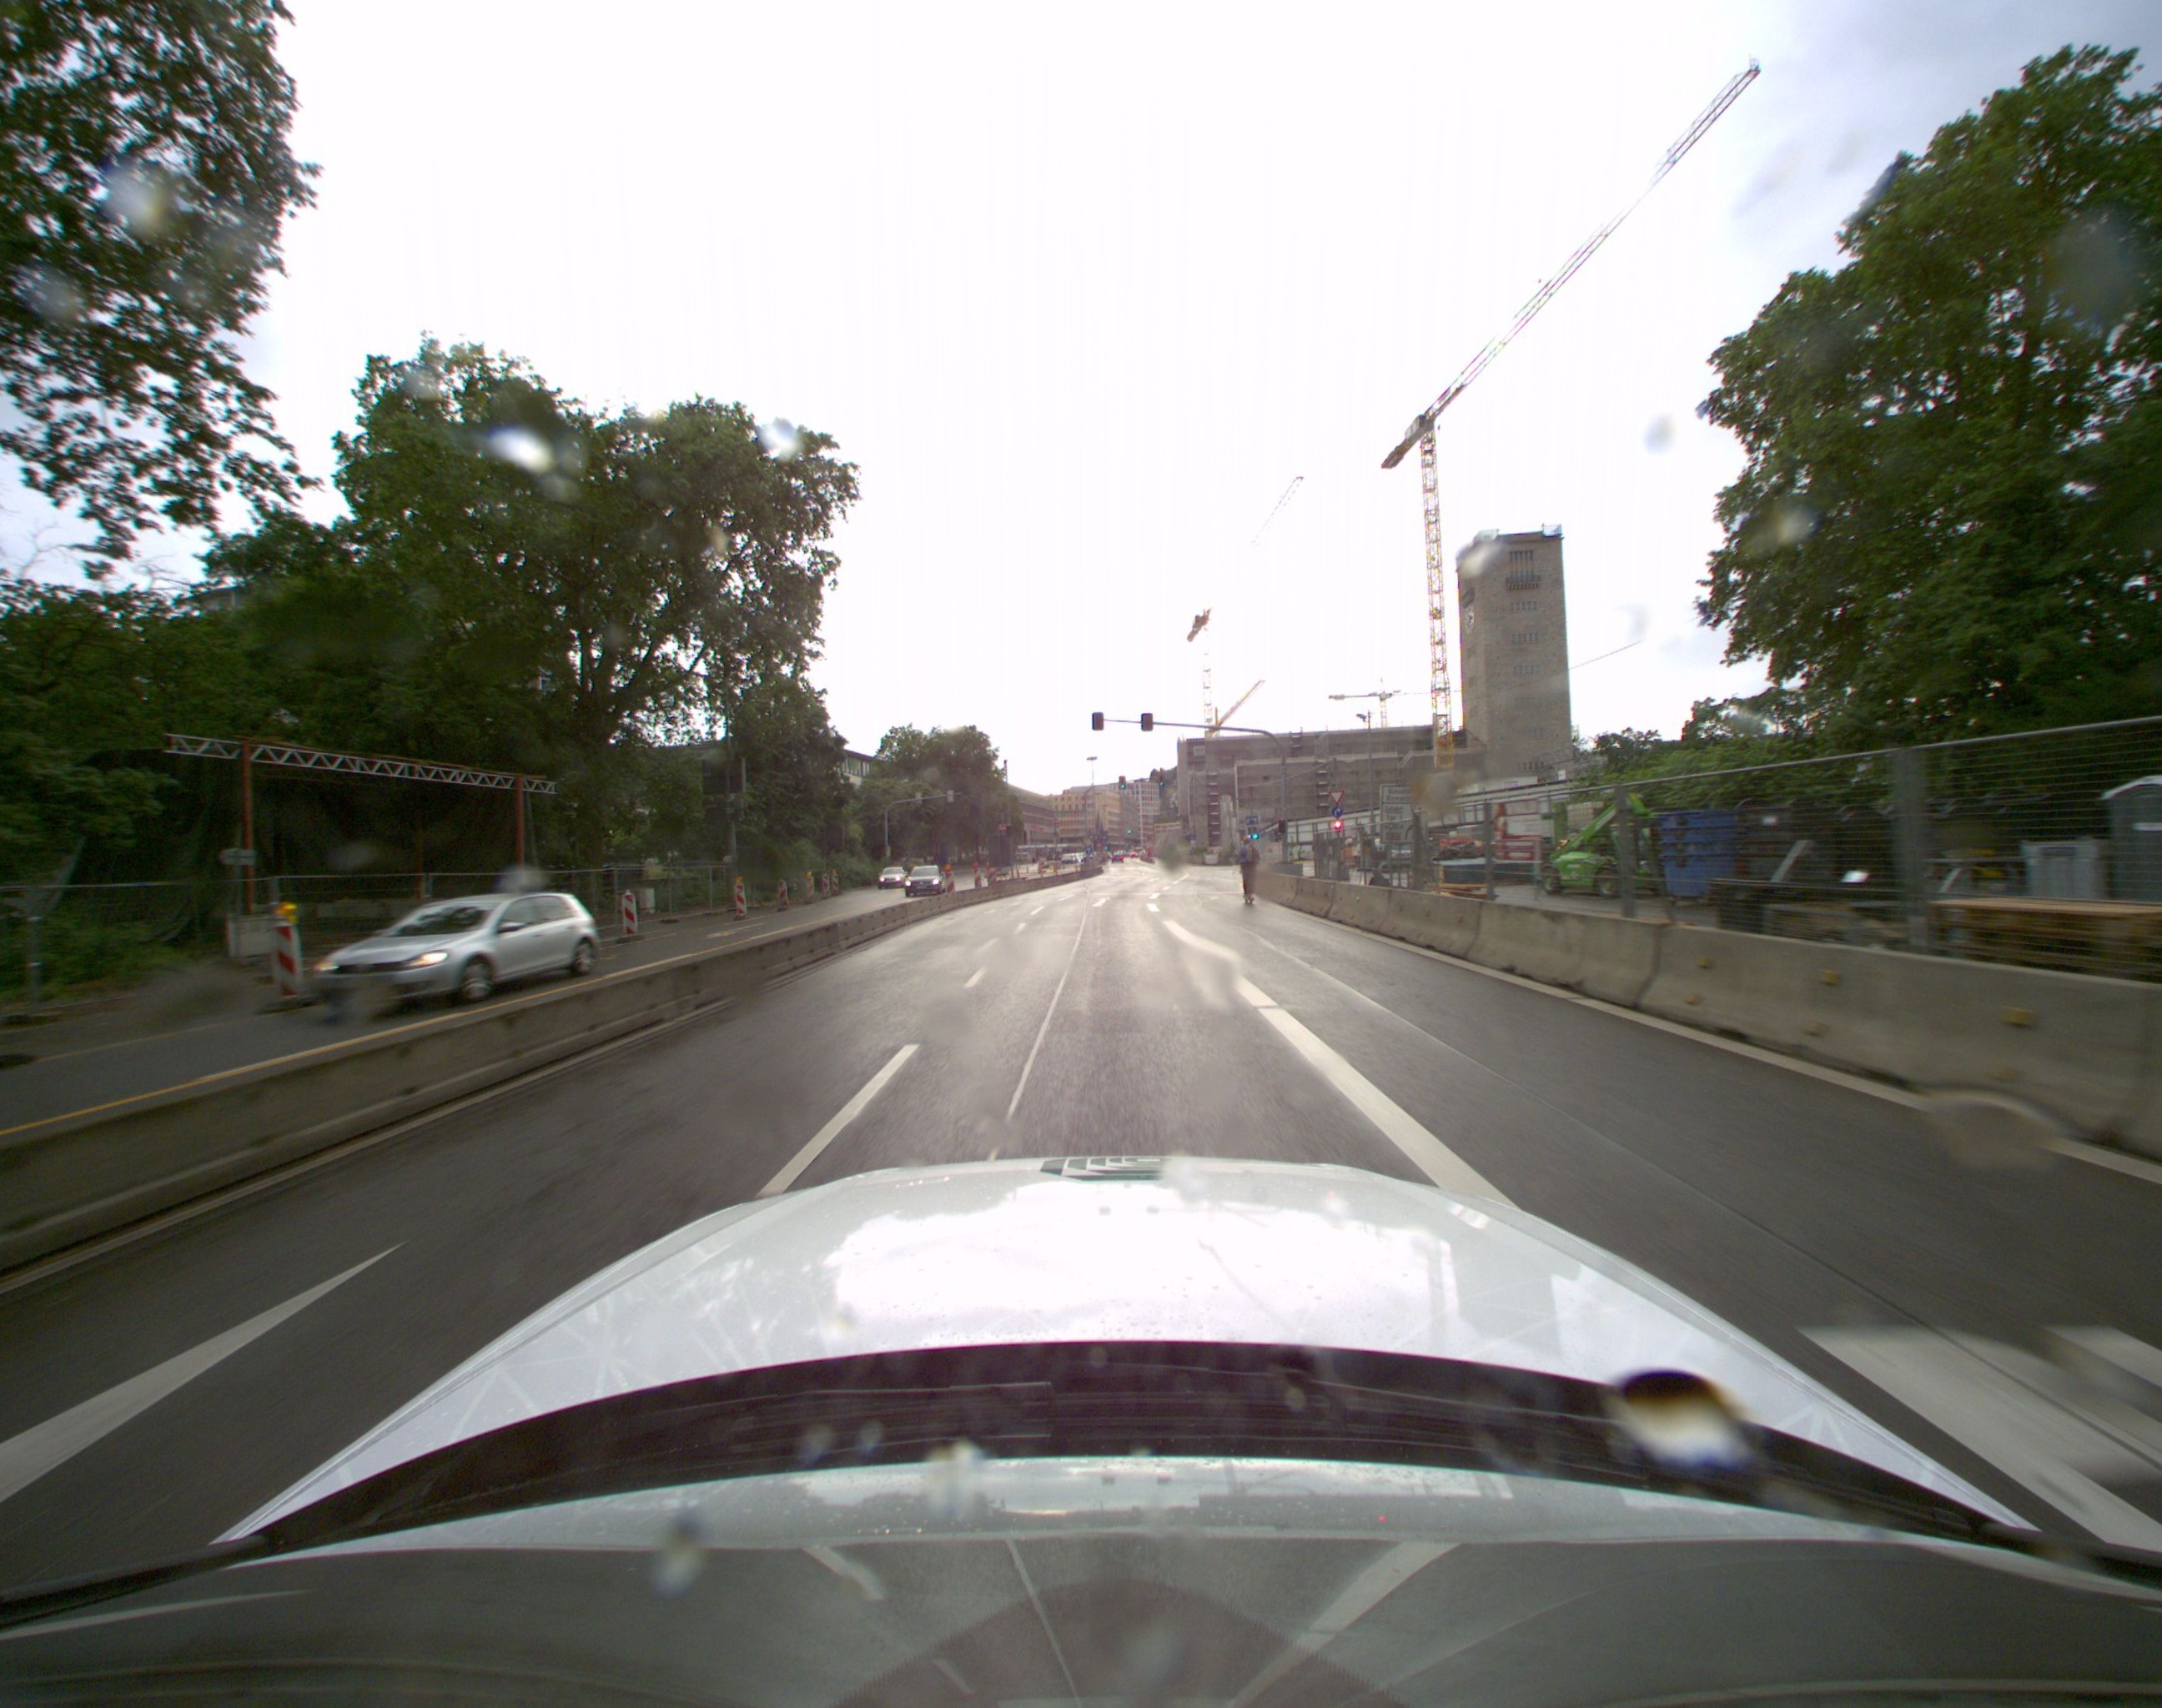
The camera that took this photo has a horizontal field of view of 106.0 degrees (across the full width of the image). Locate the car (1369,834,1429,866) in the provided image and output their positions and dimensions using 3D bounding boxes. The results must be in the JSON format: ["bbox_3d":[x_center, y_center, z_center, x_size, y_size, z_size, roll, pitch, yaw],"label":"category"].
[{"bbox_3d":[19.508,-0.271,50.173,1.839,1.806,5.090,-2,1,2],"label":"car"}]

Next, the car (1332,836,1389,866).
[{"bbox_3d":[19.194,-0.183,56.146,1.907,1.975,5.158,-2,0,-2],"label":"car"}]

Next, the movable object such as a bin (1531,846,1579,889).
[{"bbox_3d":[15.615,0.440,26.858,1.166,1.344,1.272,-1,1,22],"label":"movable object such as a bin"}]

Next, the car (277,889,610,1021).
[{"bbox_3d":[-9.243,1.367,12.344,1.864,1.541,4.086,-4,-3,-2],"label":"car"}]

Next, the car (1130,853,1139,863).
[{"bbox_3d":[13.365,0.980,202.240,1.985,2.014,4.004,-4,-3,4],"label":"car"}]

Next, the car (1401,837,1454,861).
[{"bbox_3d":[25.157,-0.336,59.299,1.935,1.619,3.929,-4,0,-4],"label":"car"}]

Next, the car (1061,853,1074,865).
[{"bbox_3d":[-2.188,0.813,130.132,1.896,1.528,4.176,-4,-3,0],"label":"car"}]

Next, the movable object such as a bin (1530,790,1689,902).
[{"bbox_3d":[14.601,-0.237,22.782,1.802,2.809,3.863,-2,1,-3],"label":"movable object such as a bin"}]

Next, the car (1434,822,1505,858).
[{"bbox_3d":[27.836,-0.959,58.588,2.041,2.313,5.597,-4,0,-4],"label":"car"}]

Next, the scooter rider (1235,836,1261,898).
[{"bbox_3d":[4.890,0.374,23.852,0.594,1.786,0.998,-2,-1,5],"label":"scooter rider"}]

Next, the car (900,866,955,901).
[{"bbox_3d":[-7.741,1.518,41.462,1.988,1.541,4.576,-4,-3,-2],"label":"car"}]

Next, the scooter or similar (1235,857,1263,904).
[{"bbox_3d":[4.912,0.755,23.859,0.594,1.319,1.670,-2,-1,5],"label":"scooter or similar"}]

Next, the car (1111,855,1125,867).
[{"bbox_3d":[5.619,1.066,123.248,1.896,1.528,4.176,-4,-3,0],"label":"car"}]

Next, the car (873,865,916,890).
[{"bbox_3d":[-12.927,1.669,56.796,1.988,1.541,4.441,-4,-3,-2],"label":"car"}]

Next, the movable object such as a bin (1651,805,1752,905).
[{"bbox_3d":[14.379,0.003,18.888,1.462,2.203,1.256,-2,1,-21],"label":"movable object such as a bin"}]

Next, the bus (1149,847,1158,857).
[{"bbox_3d":[19.820,-0.618,222.760,1.982,2.432,4.009,-4,-3,8],"label":"bus"}]

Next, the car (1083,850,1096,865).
[{"bbox_3d":[1.319,0.596,130.555,1.896,2.083,4.176,-4,-3,0],"label":"car"}]
